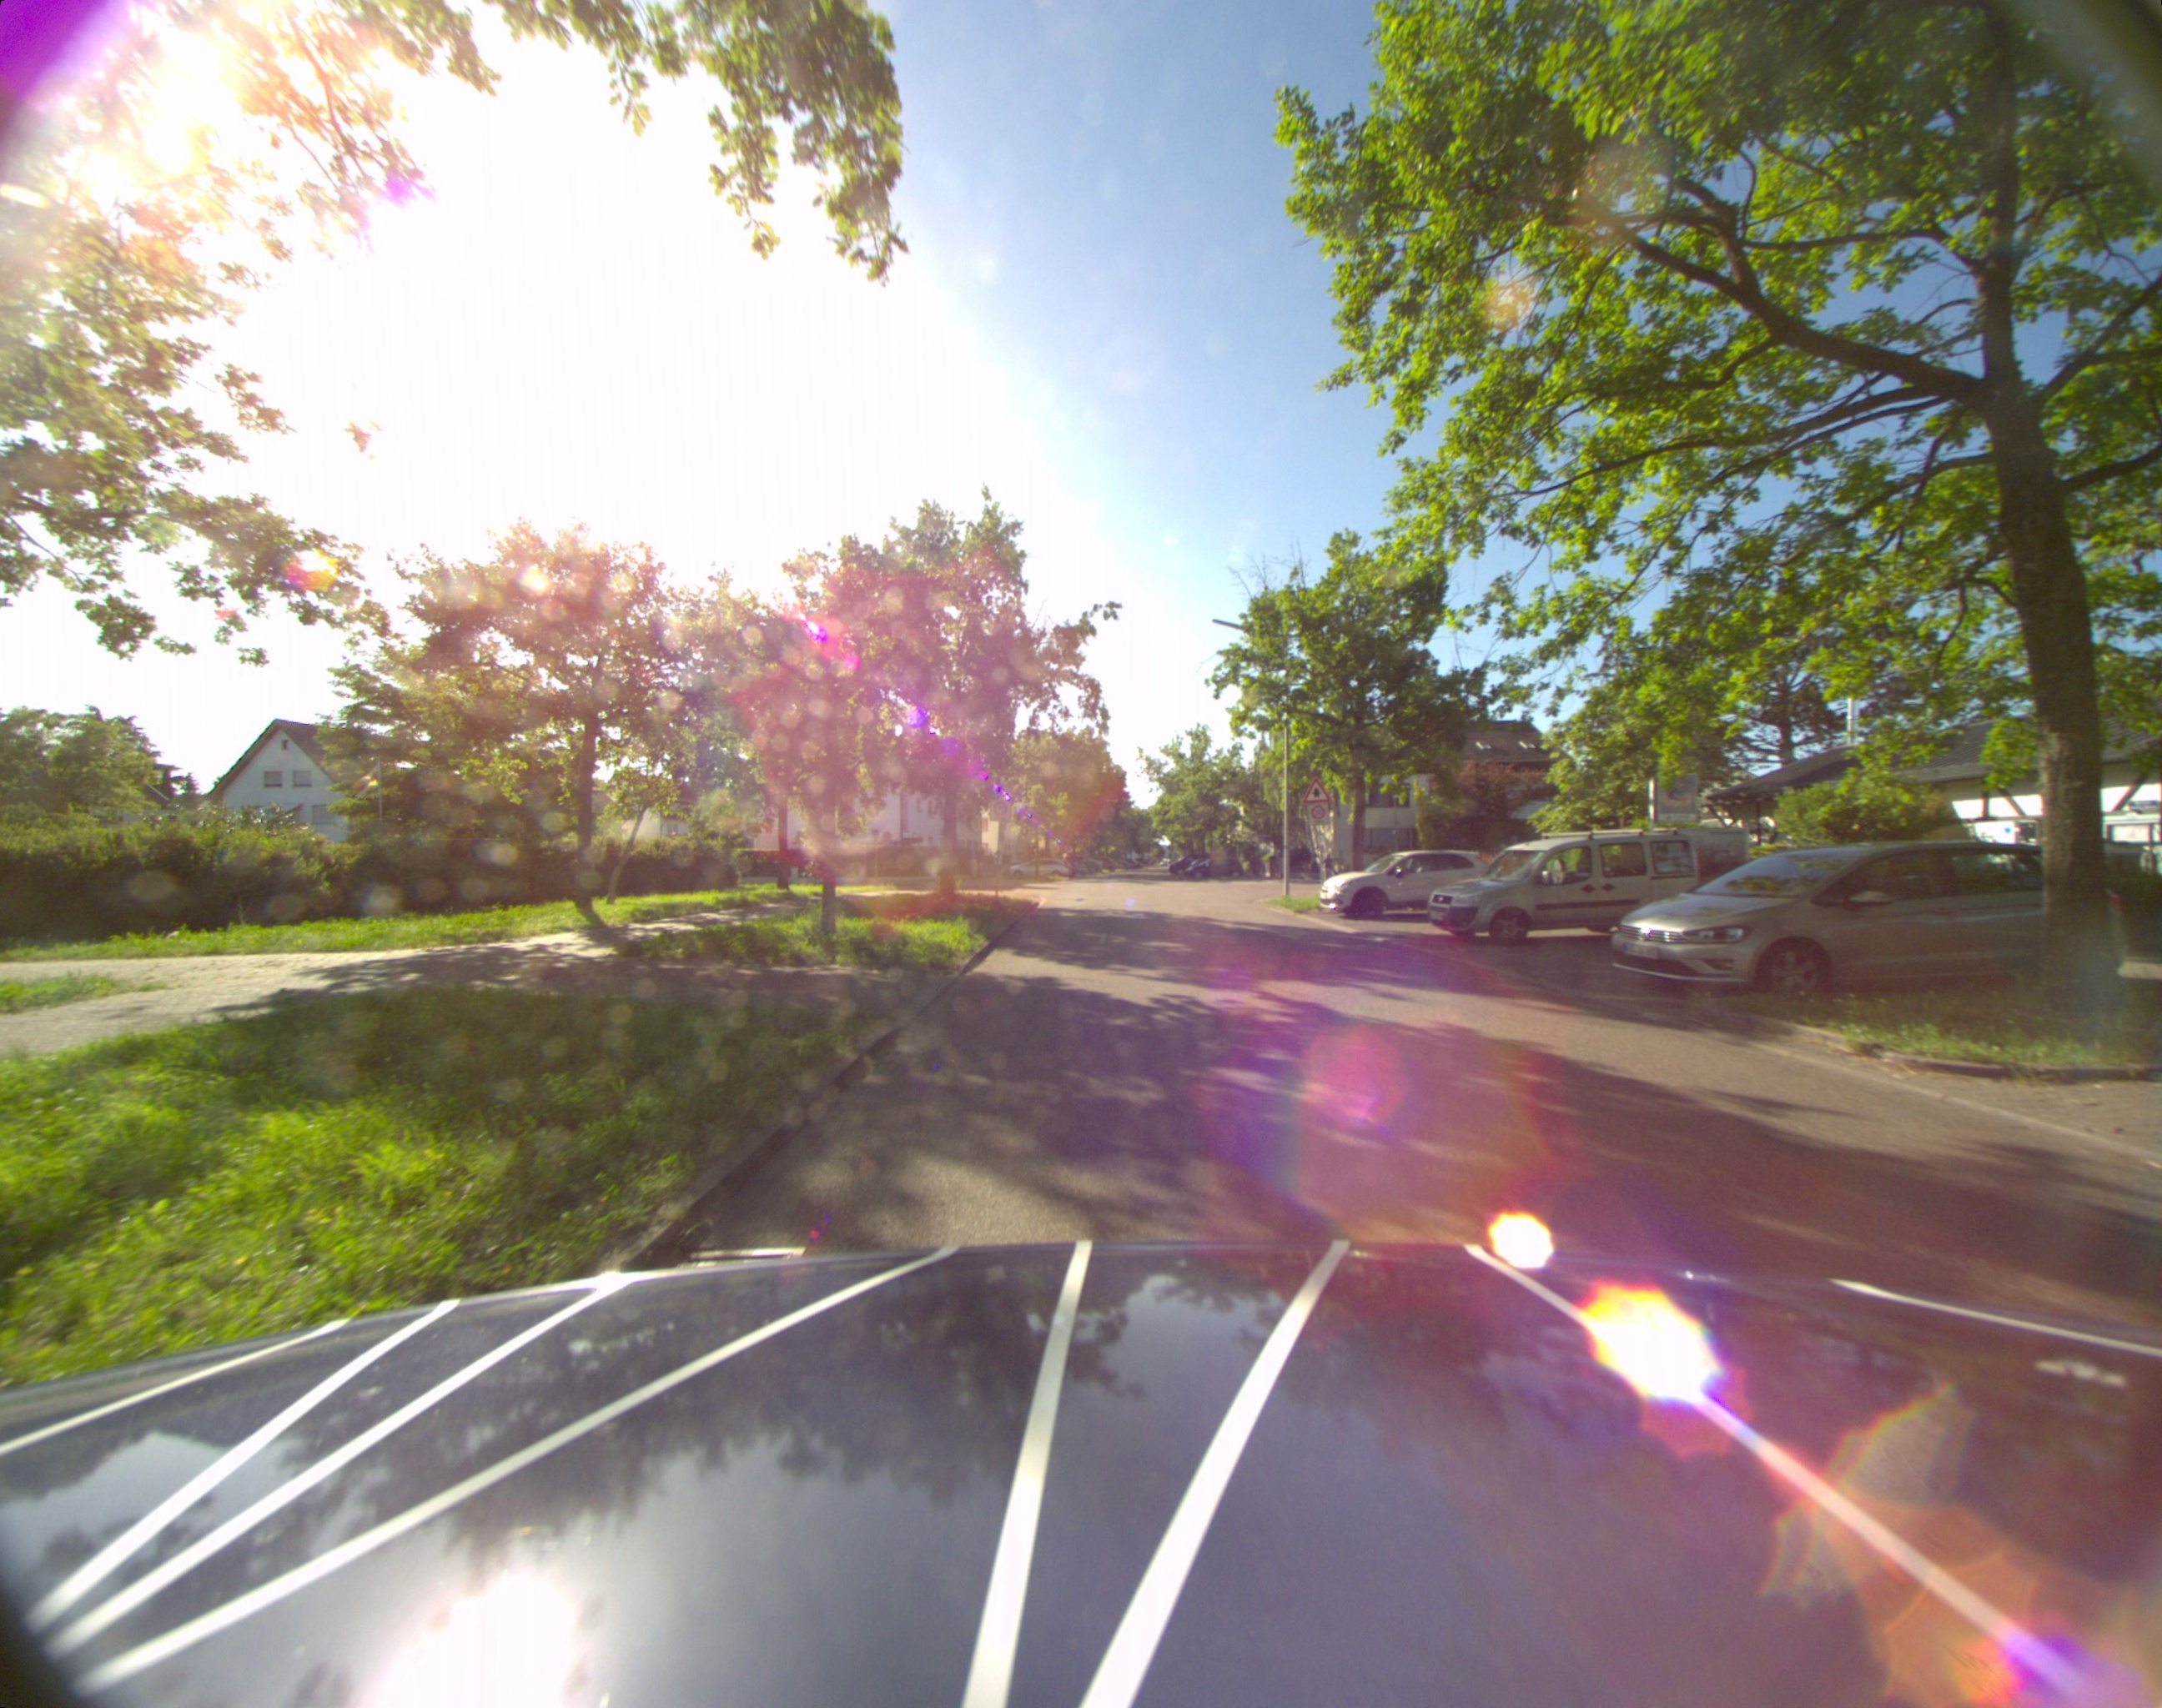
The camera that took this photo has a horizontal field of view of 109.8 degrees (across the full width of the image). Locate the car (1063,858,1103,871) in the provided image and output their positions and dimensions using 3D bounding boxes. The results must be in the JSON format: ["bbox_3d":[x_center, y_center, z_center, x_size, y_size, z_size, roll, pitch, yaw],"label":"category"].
[{"bbox_3d":[0.254,1.265,88.790,4.511,1.470,1.941,0,0,2],"label":"car"}]

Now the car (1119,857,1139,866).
[{"bbox_3d":[9.815,1.503,155.627,4.034,1.767,1.942,0,0,6],"label":"car"}]

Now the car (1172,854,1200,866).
[{"bbox_3d":[15.733,0.834,113.950,4.034,1.767,1.942,0,0,6],"label":"car"}]

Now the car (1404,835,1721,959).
[{"bbox_3d":[8.209,0.702,13.276,4.238,1.872,1.998,-2,0,0],"label":"car"}]

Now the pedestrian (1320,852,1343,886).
[{"bbox_3d":[11.476,0.671,34.853,0.728,1.534,0.867,0,2,-3],"label":"pedestrian"}]

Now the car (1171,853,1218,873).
[{"bbox_3d":[10.024,0.768,67.145,4.034,1.767,1.942,0,0,6],"label":"car"}]

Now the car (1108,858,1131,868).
[{"bbox_3d":[6.883,1.600,136.717,4.034,1.767,1.942,0,0,6],"label":"car"}]

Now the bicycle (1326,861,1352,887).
[{"bbox_3d":[11.800,0.906,34.823,0.640,1.081,1.891,0,2,3],"label":"bicycle"}]

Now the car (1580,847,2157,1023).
[{"bbox_3d":[8.042,0.777,8.115,4.146,1.547,1.866,-2,0,2],"label":"car"}]

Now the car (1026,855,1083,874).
[{"bbox_3d":[-2.161,0.857,62.689,4.511,1.470,1.941,0,0,2],"label":"car"}]

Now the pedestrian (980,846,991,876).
[{"bbox_3d":[-6.329,0.476,50.466,0.610,2.002,0.834,0,0,2],"label":"pedestrian"}]

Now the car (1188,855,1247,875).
[{"bbox_3d":[9.971,0.773,55.749,4.035,1.470,1.941,0,0,1],"label":"car"}]

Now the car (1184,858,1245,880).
[{"bbox_3d":[9.149,0.993,52.465,4.034,1.470,1.942,0,0,6],"label":"car"}]

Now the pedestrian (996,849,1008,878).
[{"bbox_3d":[-5.231,0.621,50.375,0.665,1.855,0.869,0,0,2],"label":"pedestrian"}]

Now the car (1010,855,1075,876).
[{"bbox_3d":[-2.692,0.771,54.033,4.511,1.470,1.941,0,0,2],"label":"car"}]

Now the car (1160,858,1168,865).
[{"bbox_3d":[21.361,2.014,195.546,1.939,1.767,4.041,0,0,7],"label":"car"}]

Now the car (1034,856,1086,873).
[{"bbox_3d":[-1.859,0.941,67.794,4.511,1.470,1.941,0,0,2],"label":"car"}]

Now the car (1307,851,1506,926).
[{"bbox_3d":[7.864,0.813,18.666,4.072,1.633,1.876,-2,0,2],"label":"car"}]
